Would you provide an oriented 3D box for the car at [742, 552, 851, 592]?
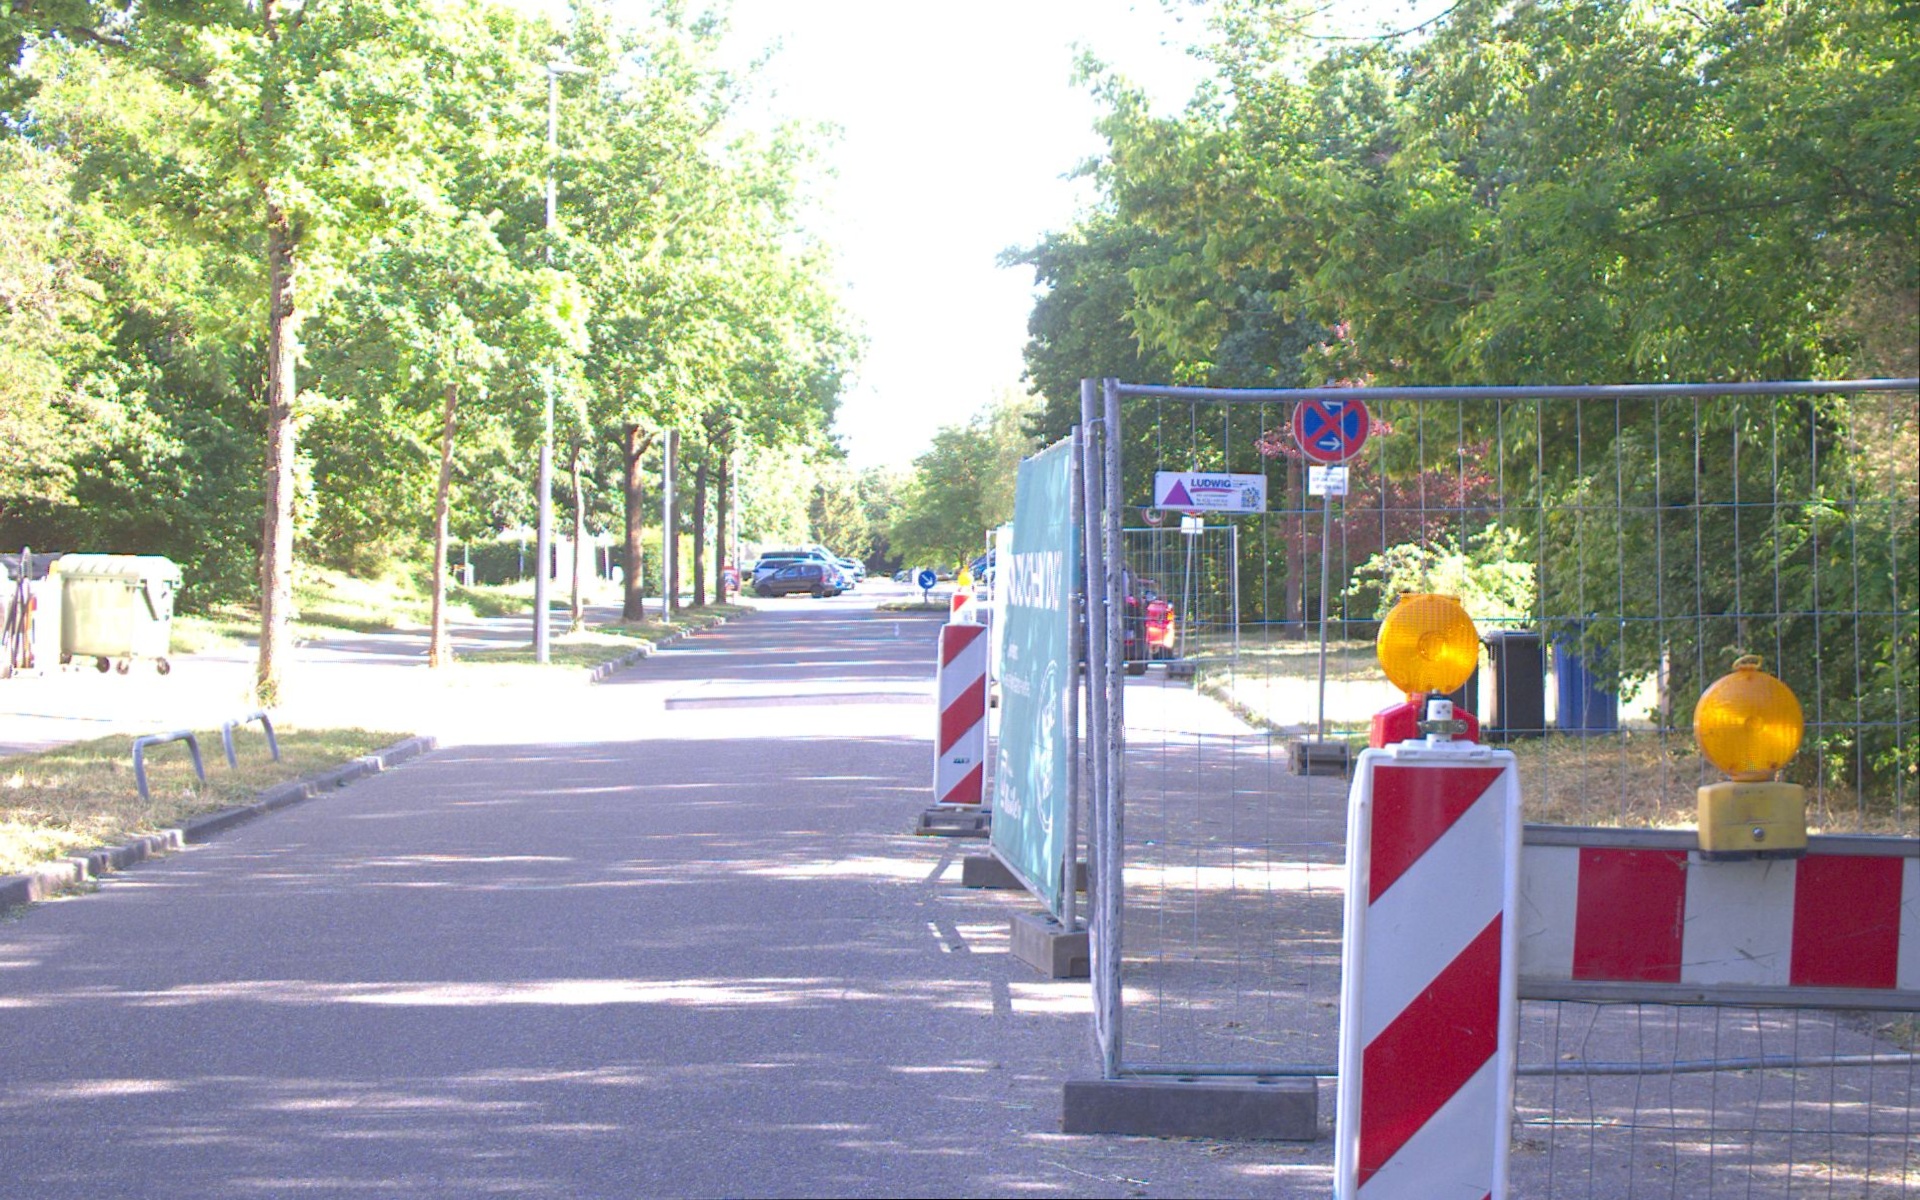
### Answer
[{"bbox_3d":[-6.986,-1.196,146.989,4.319,1.571,2.045,2,1,7],"label":"car"}]

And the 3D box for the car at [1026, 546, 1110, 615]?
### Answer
[{"bbox_3d":[2.894,-0.543,93.034,1.790,1.779,4.557,2,1,-4],"label":"car"}]

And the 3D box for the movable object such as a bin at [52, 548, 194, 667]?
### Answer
[{"bbox_3d":[-10.275,0.082,42.236,1.270,1.430,1.180,0,1,16],"label":"movable object such as a bin"}]

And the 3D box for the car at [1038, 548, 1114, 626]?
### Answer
[{"bbox_3d":[2.739,-0.330,81.860,1.623,1.767,3.669,2,1,0],"label":"car"}]

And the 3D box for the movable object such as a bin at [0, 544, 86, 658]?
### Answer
[{"bbox_3d":[-11.922,0.003,43.825,1.141,1.430,1.273,0,1,-34],"label":"movable object such as a bin"}]

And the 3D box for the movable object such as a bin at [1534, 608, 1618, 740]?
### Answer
[{"bbox_3d":[4.766,0.568,26.623,0.519,0.996,0.608,-1,0,0],"label":"movable object such as a bin"}]

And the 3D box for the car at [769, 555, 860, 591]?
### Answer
[{"bbox_3d":[-6.897,-1.279,163.295,4.107,1.571,1.958,2,1,2],"label":"car"}]

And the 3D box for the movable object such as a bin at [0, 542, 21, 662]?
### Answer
[{"bbox_3d":[-12.161,0.022,41.045,1.271,1.430,1.324,0,1,28],"label":"movable object such as a bin"}]

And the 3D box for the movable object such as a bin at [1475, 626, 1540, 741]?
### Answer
[{"bbox_3d":[4.249,0.645,26.708,0.413,0.867,0.484,-1,0,0],"label":"movable object such as a bin"}]

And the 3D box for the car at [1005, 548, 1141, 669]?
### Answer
[{"bbox_3d":[1.705,0.092,50.744,1.810,1.645,4.420,2,1,4],"label":"car"}]

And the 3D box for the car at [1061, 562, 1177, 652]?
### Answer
[{"bbox_3d":[2.618,0.091,57.293,1.661,1.371,4.155,2,1,-1],"label":"car"}]

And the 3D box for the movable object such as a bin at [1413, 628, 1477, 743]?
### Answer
[{"bbox_3d":[3.758,0.657,26.642,0.413,0.867,0.484,-1,0,0],"label":"movable object such as a bin"}]

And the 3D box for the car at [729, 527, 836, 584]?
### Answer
[{"bbox_3d":[-8.888,-2.230,172.238,5.199,2.612,2.294,2,1,-5],"label":"car"}]
